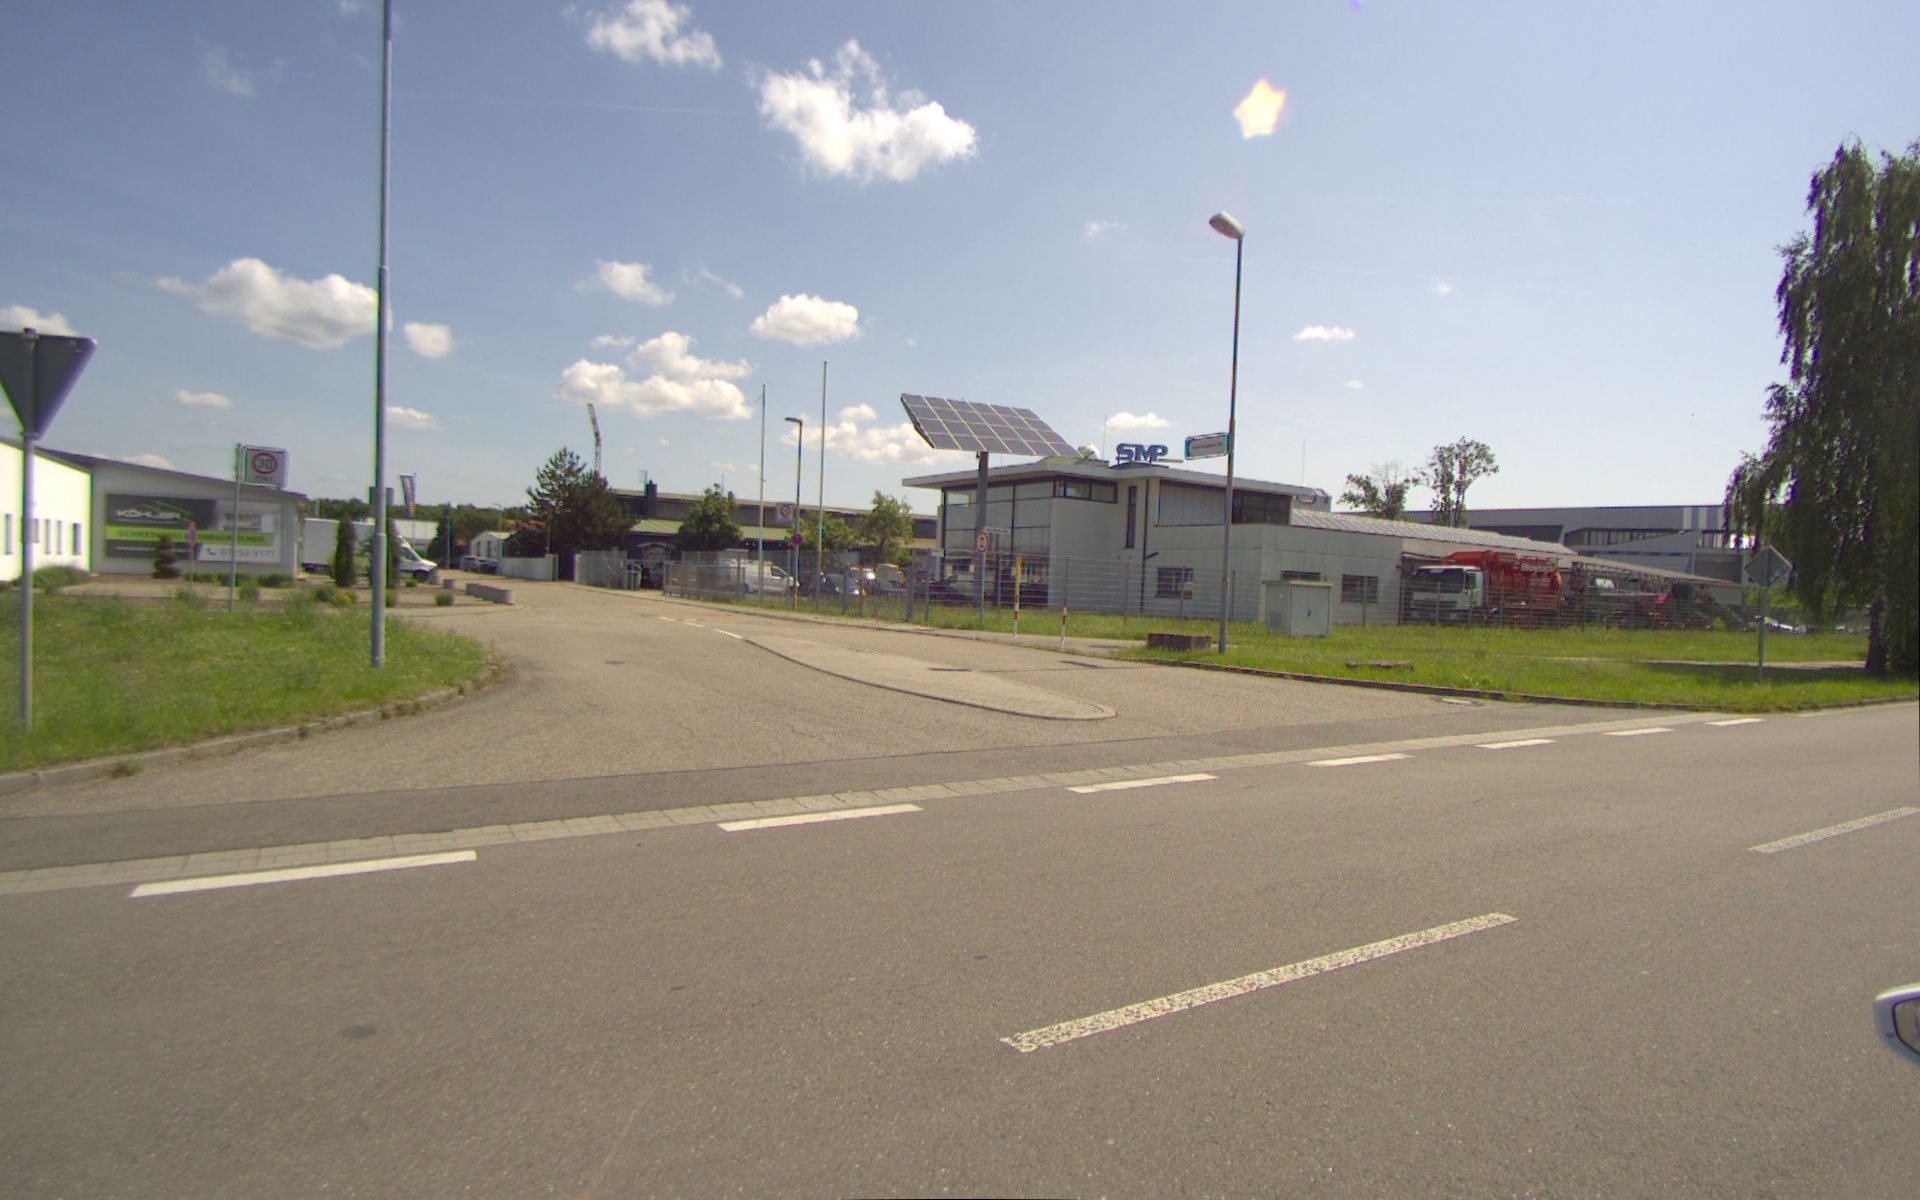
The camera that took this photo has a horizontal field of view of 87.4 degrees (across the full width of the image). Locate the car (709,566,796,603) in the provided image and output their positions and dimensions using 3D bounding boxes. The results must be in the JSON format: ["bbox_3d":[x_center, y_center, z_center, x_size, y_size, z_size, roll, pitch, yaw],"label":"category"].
[{"bbox_3d":[-12.433,-0.917,60.364,4.701,2.041,1.977,1,2,-39],"label":"car"}]

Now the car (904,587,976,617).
[{"bbox_3d":[-1.064,0.083,51.292,1.784,1.261,3.962,1,2,-33],"label":"car"}]

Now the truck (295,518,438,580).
[{"bbox_3d":[-34.987,-2.938,59.359,7.117,3.256,1.981,1,2,-34],"label":"truck"}]

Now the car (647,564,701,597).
[{"bbox_3d":[-17.809,-1.211,62.445,1.980,1.874,3.960,1,2,-35],"label":"car"}]

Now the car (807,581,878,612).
[{"bbox_3d":[-5.702,-0.196,48.348,1.784,1.261,3.962,1,2,-33],"label":"car"}]

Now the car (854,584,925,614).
[{"bbox_3d":[-3.541,-0.066,49.634,1.784,1.261,3.962,1,2,-33],"label":"car"}]

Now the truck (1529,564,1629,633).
[{"bbox_3d":[33.479,-0.057,54.281,5.385,3.499,2.420,1,2,-34],"label":"truck"}]

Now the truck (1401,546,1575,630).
[{"bbox_3d":[25.470,-0.506,48.173,10.160,3.606,2.736,1,2,-34],"label":"truck"}]
